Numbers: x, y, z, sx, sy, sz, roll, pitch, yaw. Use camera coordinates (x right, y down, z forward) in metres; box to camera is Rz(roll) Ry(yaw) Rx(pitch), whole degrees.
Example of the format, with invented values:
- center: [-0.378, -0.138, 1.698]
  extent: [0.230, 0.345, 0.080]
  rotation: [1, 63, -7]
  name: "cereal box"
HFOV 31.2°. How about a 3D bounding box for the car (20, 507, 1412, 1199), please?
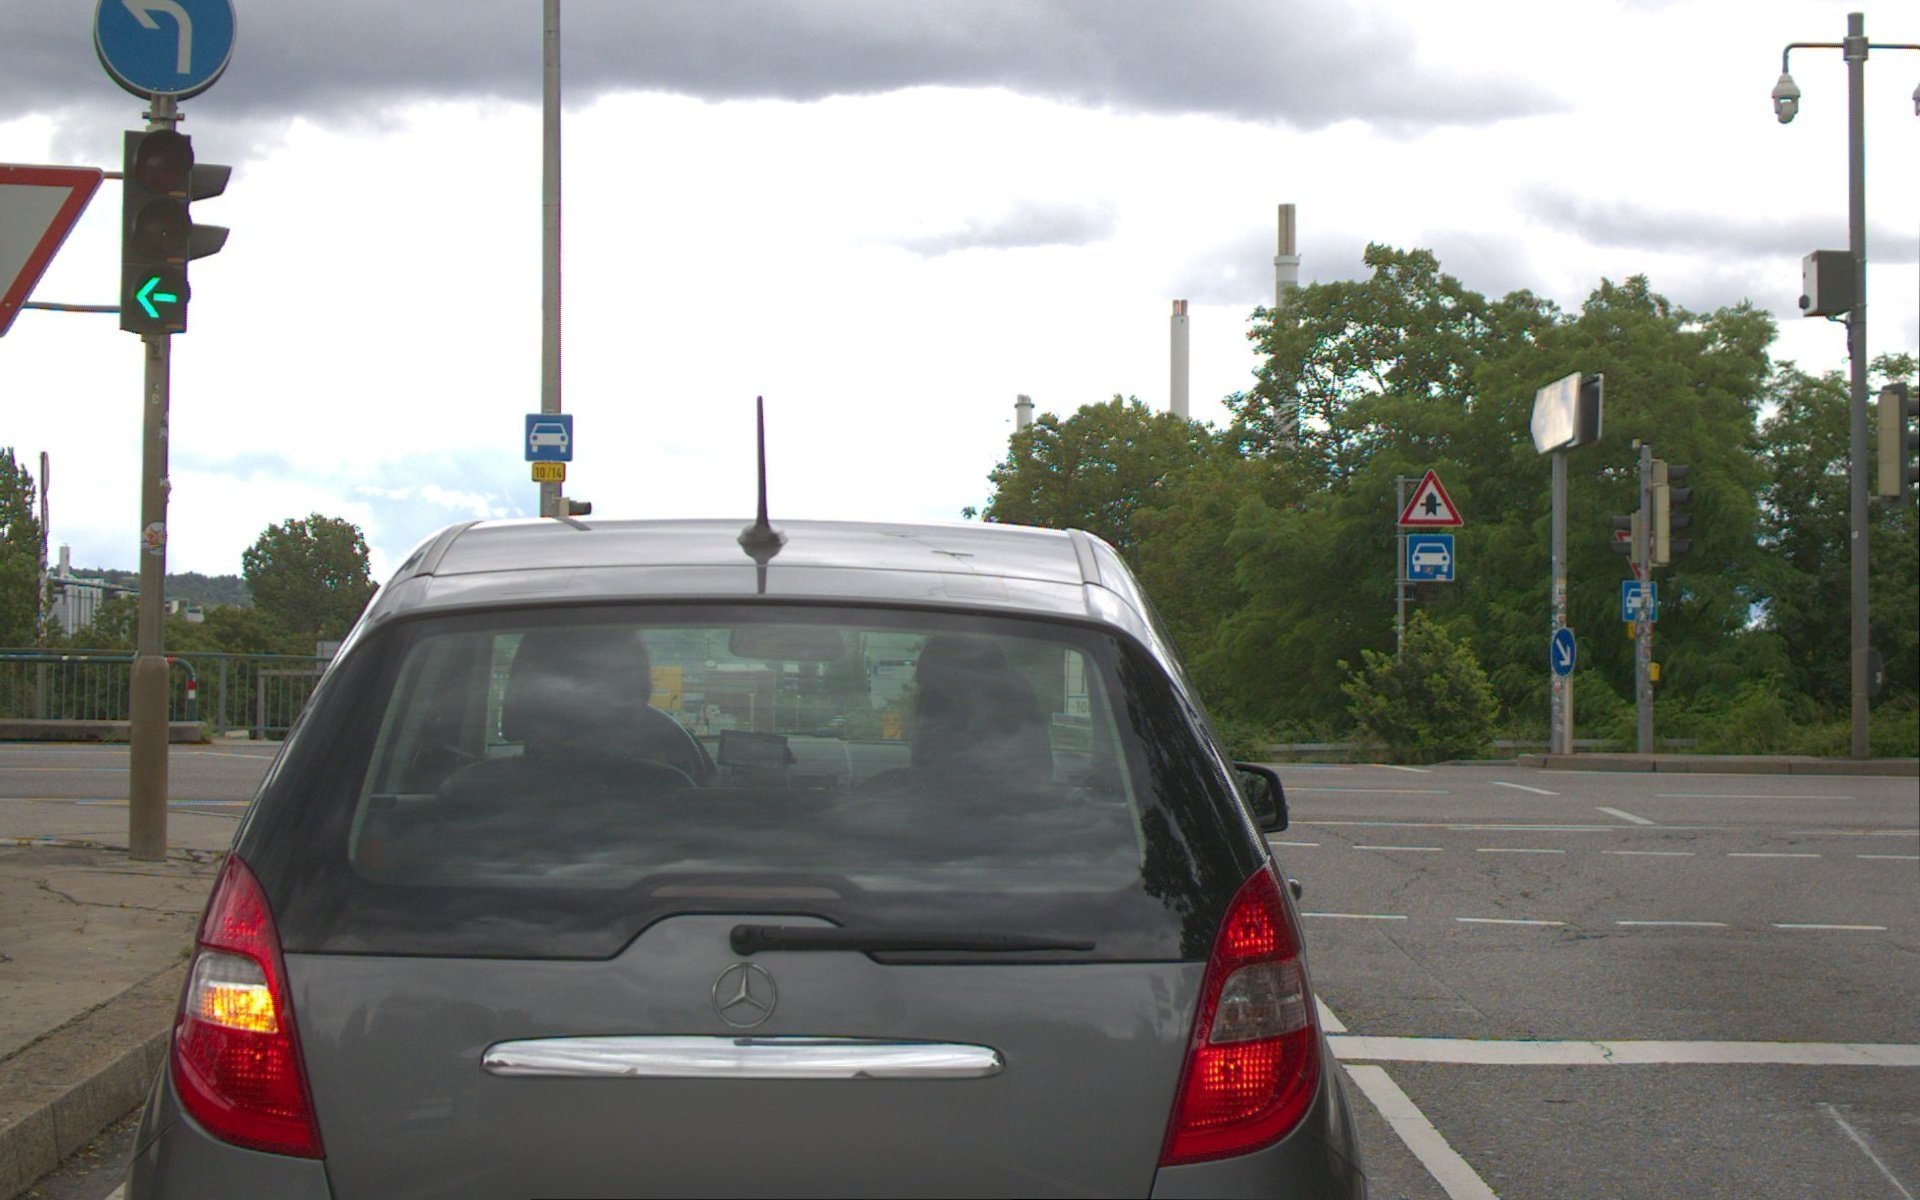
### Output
- center: [-0.326, 0.645, 6.095]
  extent: [1.739, 1.538, 3.541]
  rotation: [1, 1, 0]
  name: "car"
